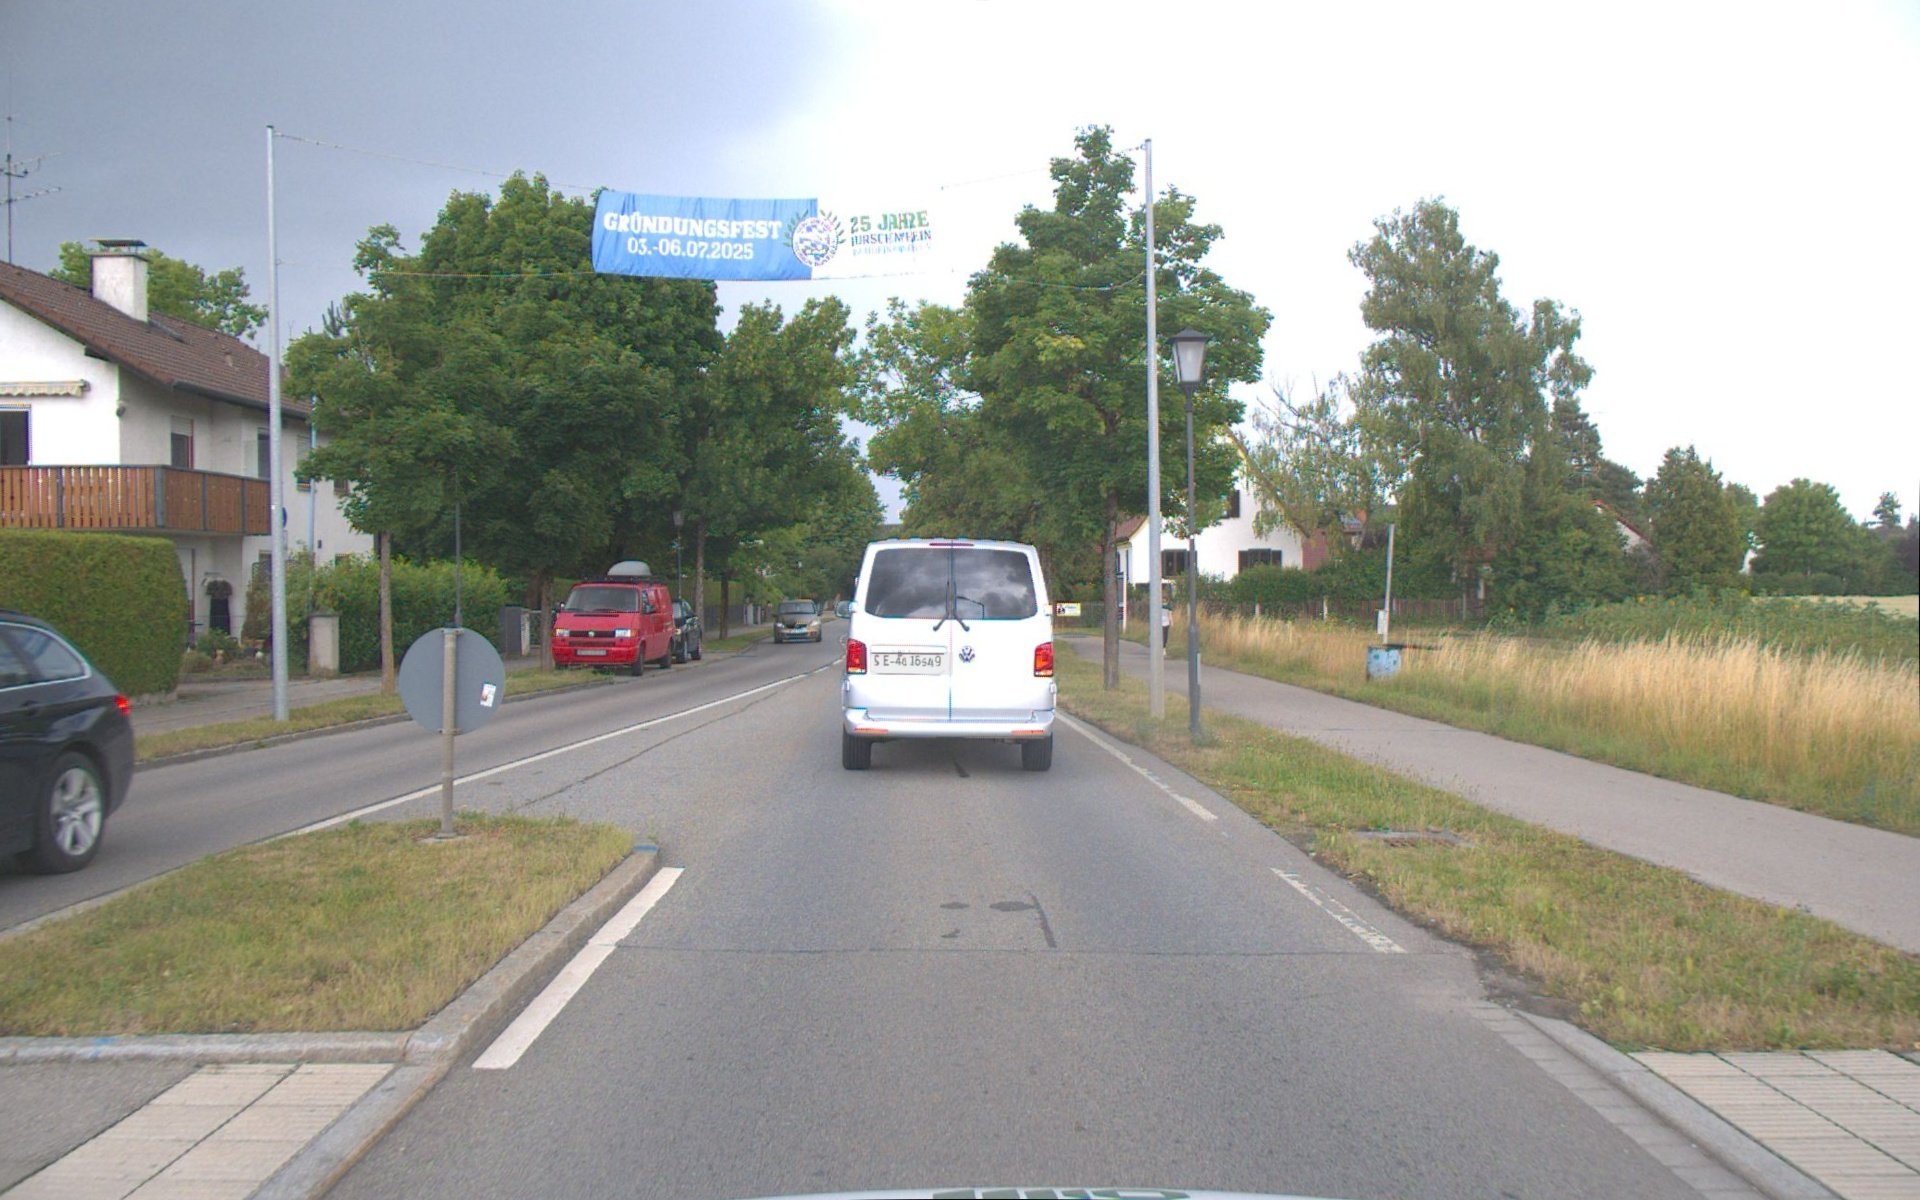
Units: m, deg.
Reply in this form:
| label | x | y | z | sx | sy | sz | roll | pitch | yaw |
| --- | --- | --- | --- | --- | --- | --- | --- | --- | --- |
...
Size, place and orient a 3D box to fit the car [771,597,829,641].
| label | x | y | z | sx | sy | sz | roll | pitch | yaw |
| --- | --- | --- | --- | --- | --- | --- | --- | --- | --- |
| car | -6.016 | 0.696 | 62.448 | 1.672 | 1.559 | 3.508 | -2 | 0 | 2 |

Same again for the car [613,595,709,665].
| label | x | y | z | sx | sy | sz | roll | pitch | yaw |
| --- | --- | --- | --- | --- | --- | --- | --- | --- | --- |
| car | -7.480 | 0.704 | 41.706 | 1.736 | 1.626 | 4.237 | 1 | 0 | -1 |

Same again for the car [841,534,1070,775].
| label | x | y | z | sx | sy | sz | roll | pitch | yaw |
| --- | --- | --- | --- | --- | --- | --- | --- | --- | --- |
| car | -0.104 | 0.453 | 15.425 | 1.850 | 1.945 | 3.998 | 0 | 0 | -2 |

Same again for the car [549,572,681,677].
| label | x | y | z | sx | sy | sz | roll | pitch | yaw |
| --- | --- | --- | --- | --- | --- | --- | --- | --- | --- |
| car | -7.361 | 0.474 | 35.780 | 1.793 | 2.066 | 5.045 | 1 | 0 | -1 |

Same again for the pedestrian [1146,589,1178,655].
| label | x | y | z | sx | sy | sz | roll | pitch | yaw |
| --- | --- | --- | --- | --- | --- | --- | --- | --- | --- |
| pedestrian | 5.552 | 0.595 | 45.591 | 0.820 | 1.785 | 0.870 | 0 | 0 | 3 |

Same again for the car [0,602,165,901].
| label | x | y | z | sx | sy | sz | roll | pitch | yaw |
| --- | --- | --- | --- | --- | --- | --- | --- | --- | --- |
| car | -5.748 | 0.777 | 7.685 | 1.881 | 1.479 | 4.496 | -1 | 0 | 1 |

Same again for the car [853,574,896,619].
| label | x | y | z | sx | sy | sz | roll | pitch | yaw |
| --- | --- | --- | --- | --- | --- | --- | --- | --- | --- |
| car | -4.083 | -0.167 | 79.681 | 1.953 | 2.049 | 3.998 | 1 | 0 | -2 |

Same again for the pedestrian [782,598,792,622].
| label | x | y | z | sx | sy | sz | roll | pitch | yaw |
| --- | --- | --- | --- | --- | --- | --- | --- | --- | --- |
| pedestrian | -11.249 | 0.661 | 107.599 | 0.610 | 1.576 | 0.522 | 1 | -1 | -6 |
